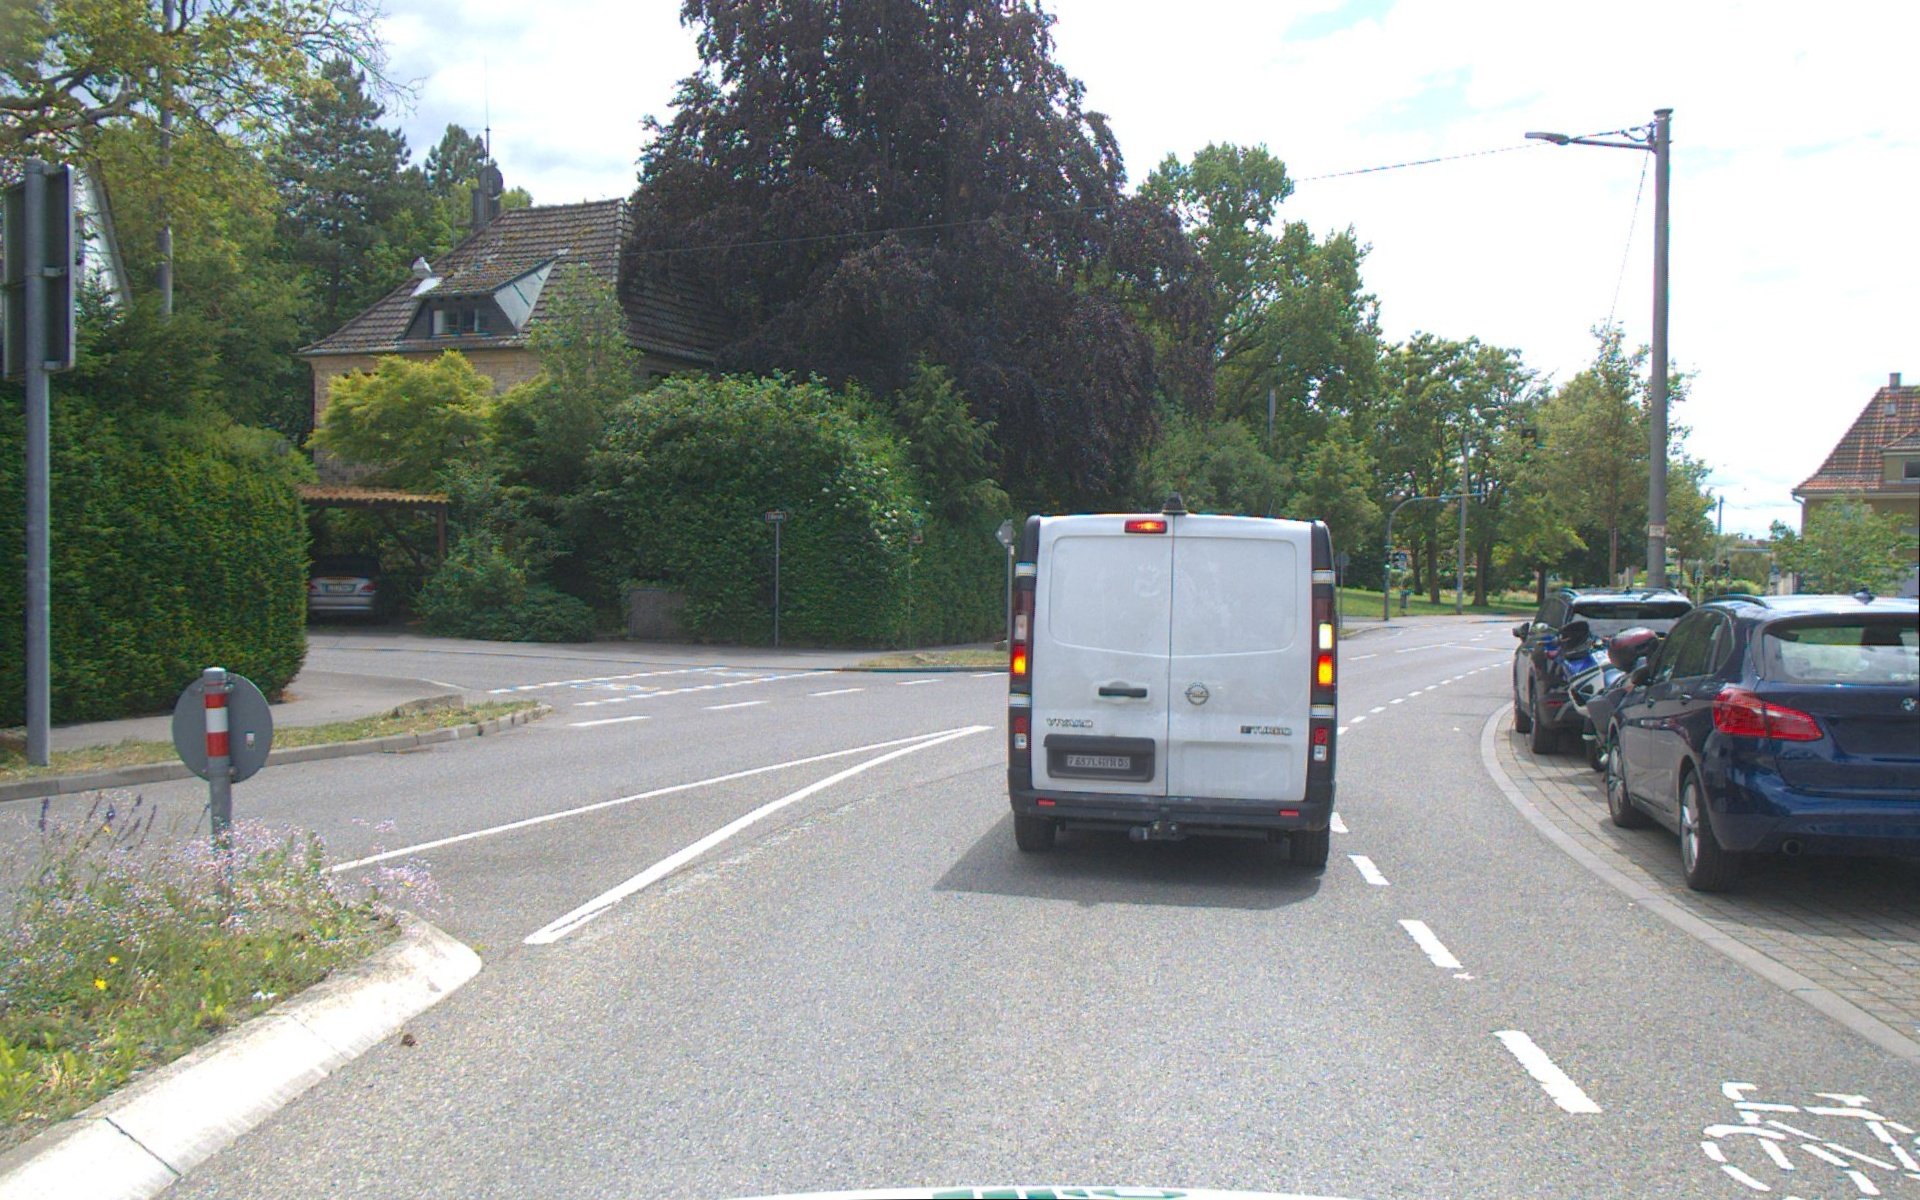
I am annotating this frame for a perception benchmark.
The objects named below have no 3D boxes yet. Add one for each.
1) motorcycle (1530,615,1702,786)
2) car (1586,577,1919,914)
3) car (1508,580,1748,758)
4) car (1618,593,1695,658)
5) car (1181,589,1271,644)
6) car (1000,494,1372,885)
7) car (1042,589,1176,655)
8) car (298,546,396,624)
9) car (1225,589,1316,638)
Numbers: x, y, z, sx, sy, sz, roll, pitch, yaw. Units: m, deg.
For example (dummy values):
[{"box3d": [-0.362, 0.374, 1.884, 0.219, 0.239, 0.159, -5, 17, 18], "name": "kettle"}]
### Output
[{"box3d": [5.643, 0.825, 14.385, 1.048, 1.328, 2.262, -2, 0, 13], "name": "motorcycle"}, {"box3d": [5.125, 0.689, 10.033, 1.875, 1.606, 4.433, 0, 0, 13], "name": "car"}, {"box3d": [7.049, 0.643, 17.915, 1.839, 1.650, 4.850, 0, 0, 15], "name": "car"}, {"box3d": [18.778, 0.673, 44.504, 1.702, 1.644, 4.383, -1, -1, 25], "name": "car"}, {"box3d": [7.809, 0.464, 48.293, 1.564, 1.475, 3.592, 2, 1, 26], "name": "car"}, {"box3d": [1.598, 0.444, 11.030, 1.897, 1.995, 4.837, 1, 0, 10], "name": "car"}, {"box3d": [3.584, 0.495, 39.041, 1.628, 1.402, 4.562, 2, 1, 25], "name": "car"}, {"box3d": [-13.061, -0.356, 35.414, 1.695, 1.536, 3.982, 1, 1, -17], "name": "car"}, {"box3d": [9.828, 0.389, 52.096, 1.661, 1.389, 4.683, 3, 1, 25], "name": "car"}]
